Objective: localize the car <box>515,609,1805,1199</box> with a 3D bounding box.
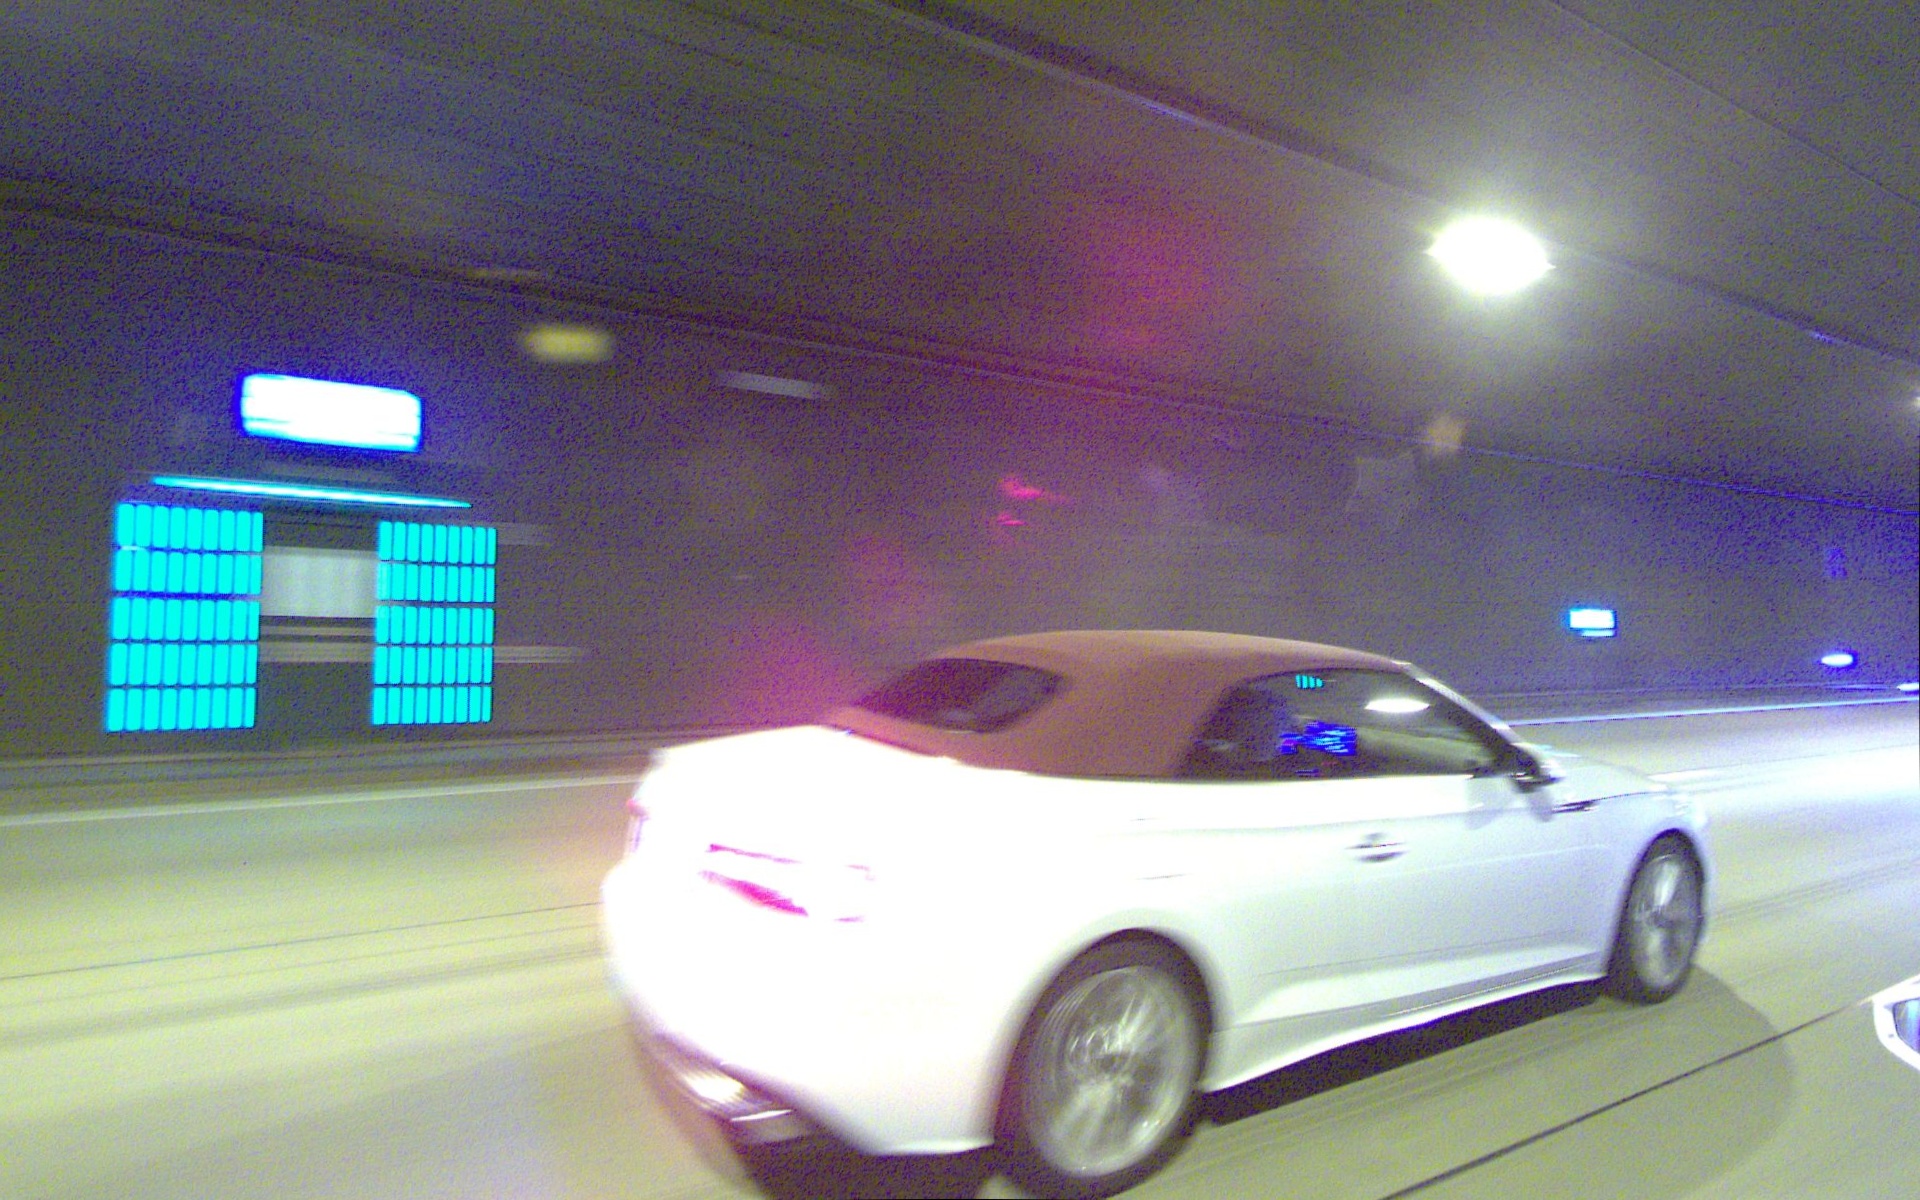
[{"bbox_3d":[1.118,0.808,3.844,5.001,1.437,1.694,2,-1,-31],"label":"car"}]
